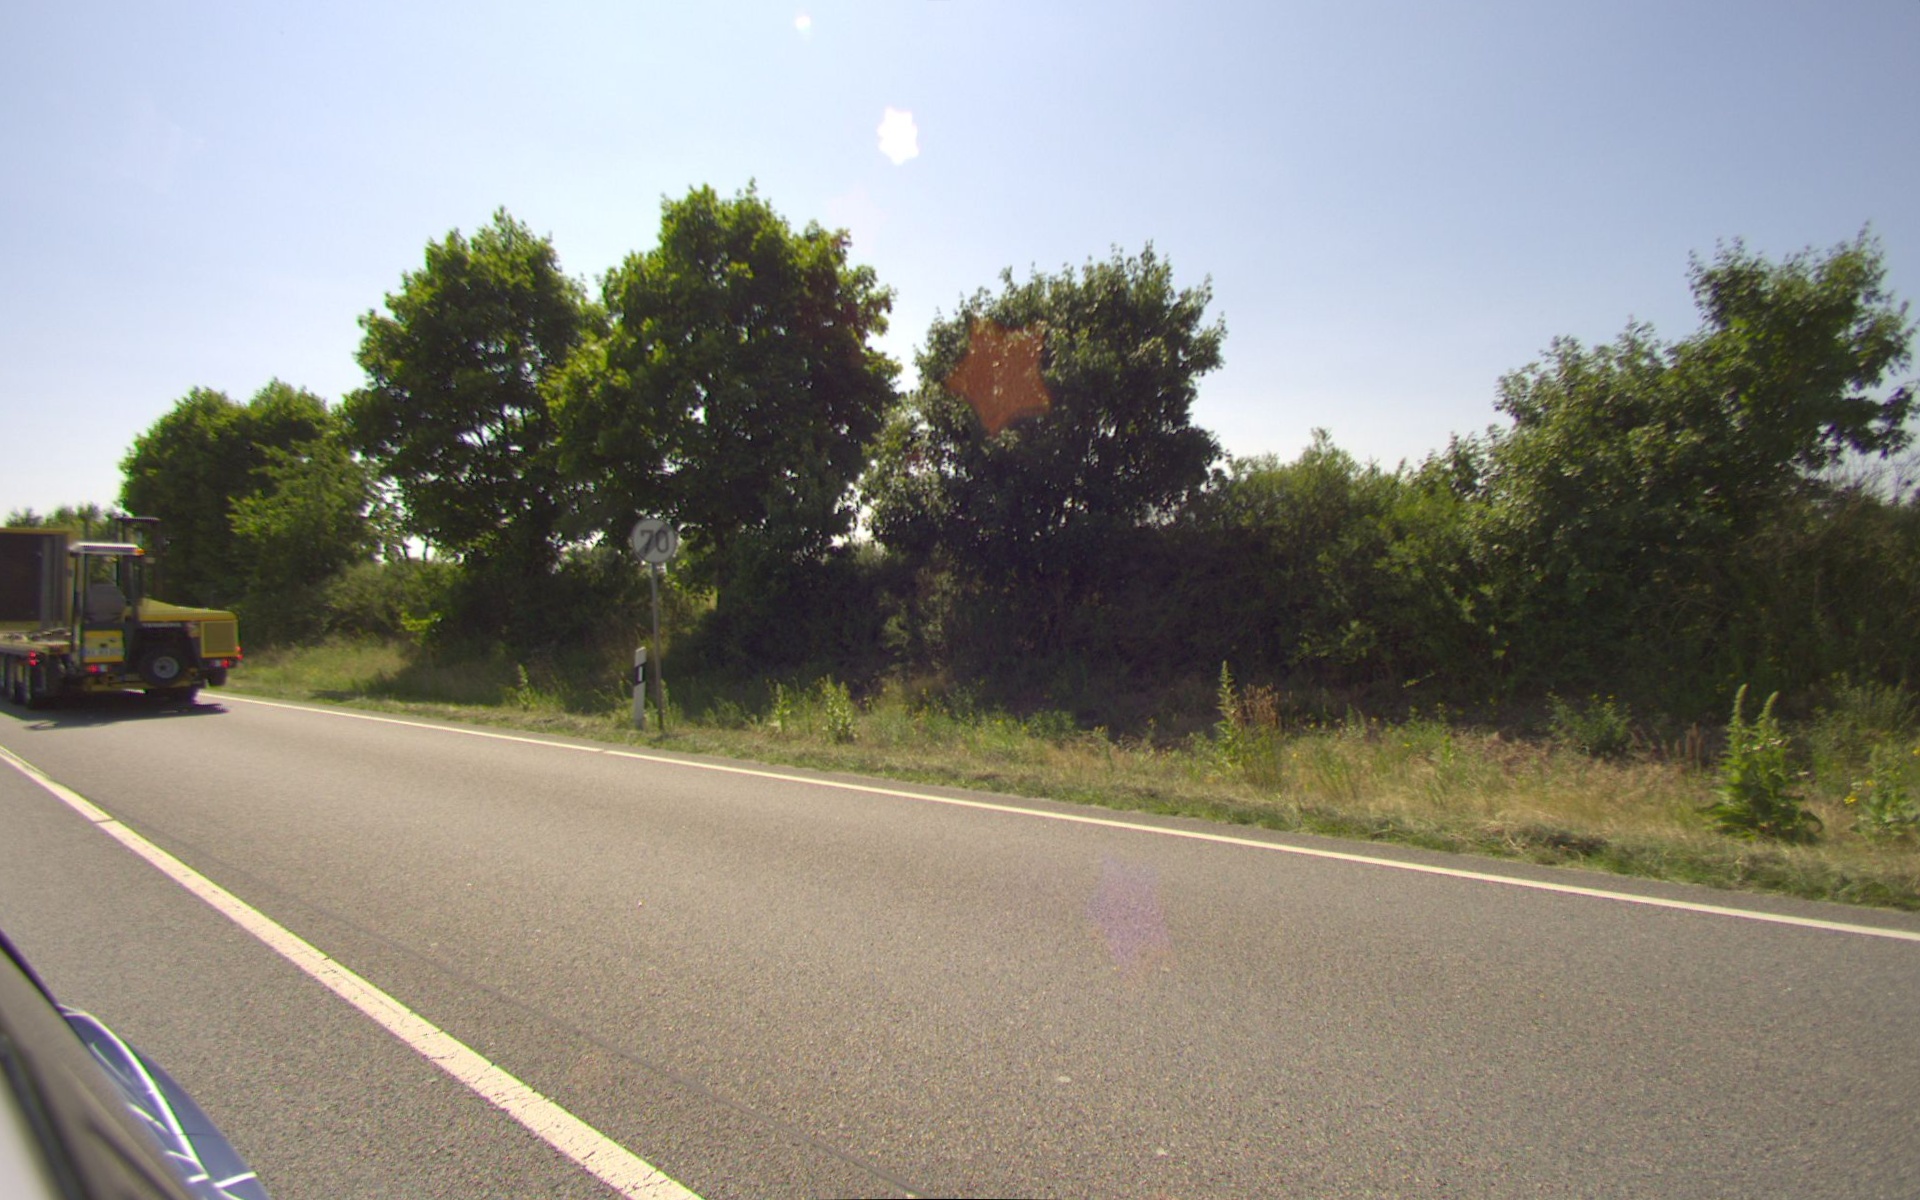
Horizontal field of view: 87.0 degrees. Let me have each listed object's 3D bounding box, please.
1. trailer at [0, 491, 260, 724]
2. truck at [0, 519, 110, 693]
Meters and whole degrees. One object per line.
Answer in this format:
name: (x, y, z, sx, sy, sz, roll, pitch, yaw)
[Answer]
trailer: (-18.458, 0.298, 20.957, 14.935, 3.486, 2.635, -2, -2, 40)
truck: (-23.748, 0.214, 25.425, 5.947, 3.961, 2.675, -2, -2, 40)
